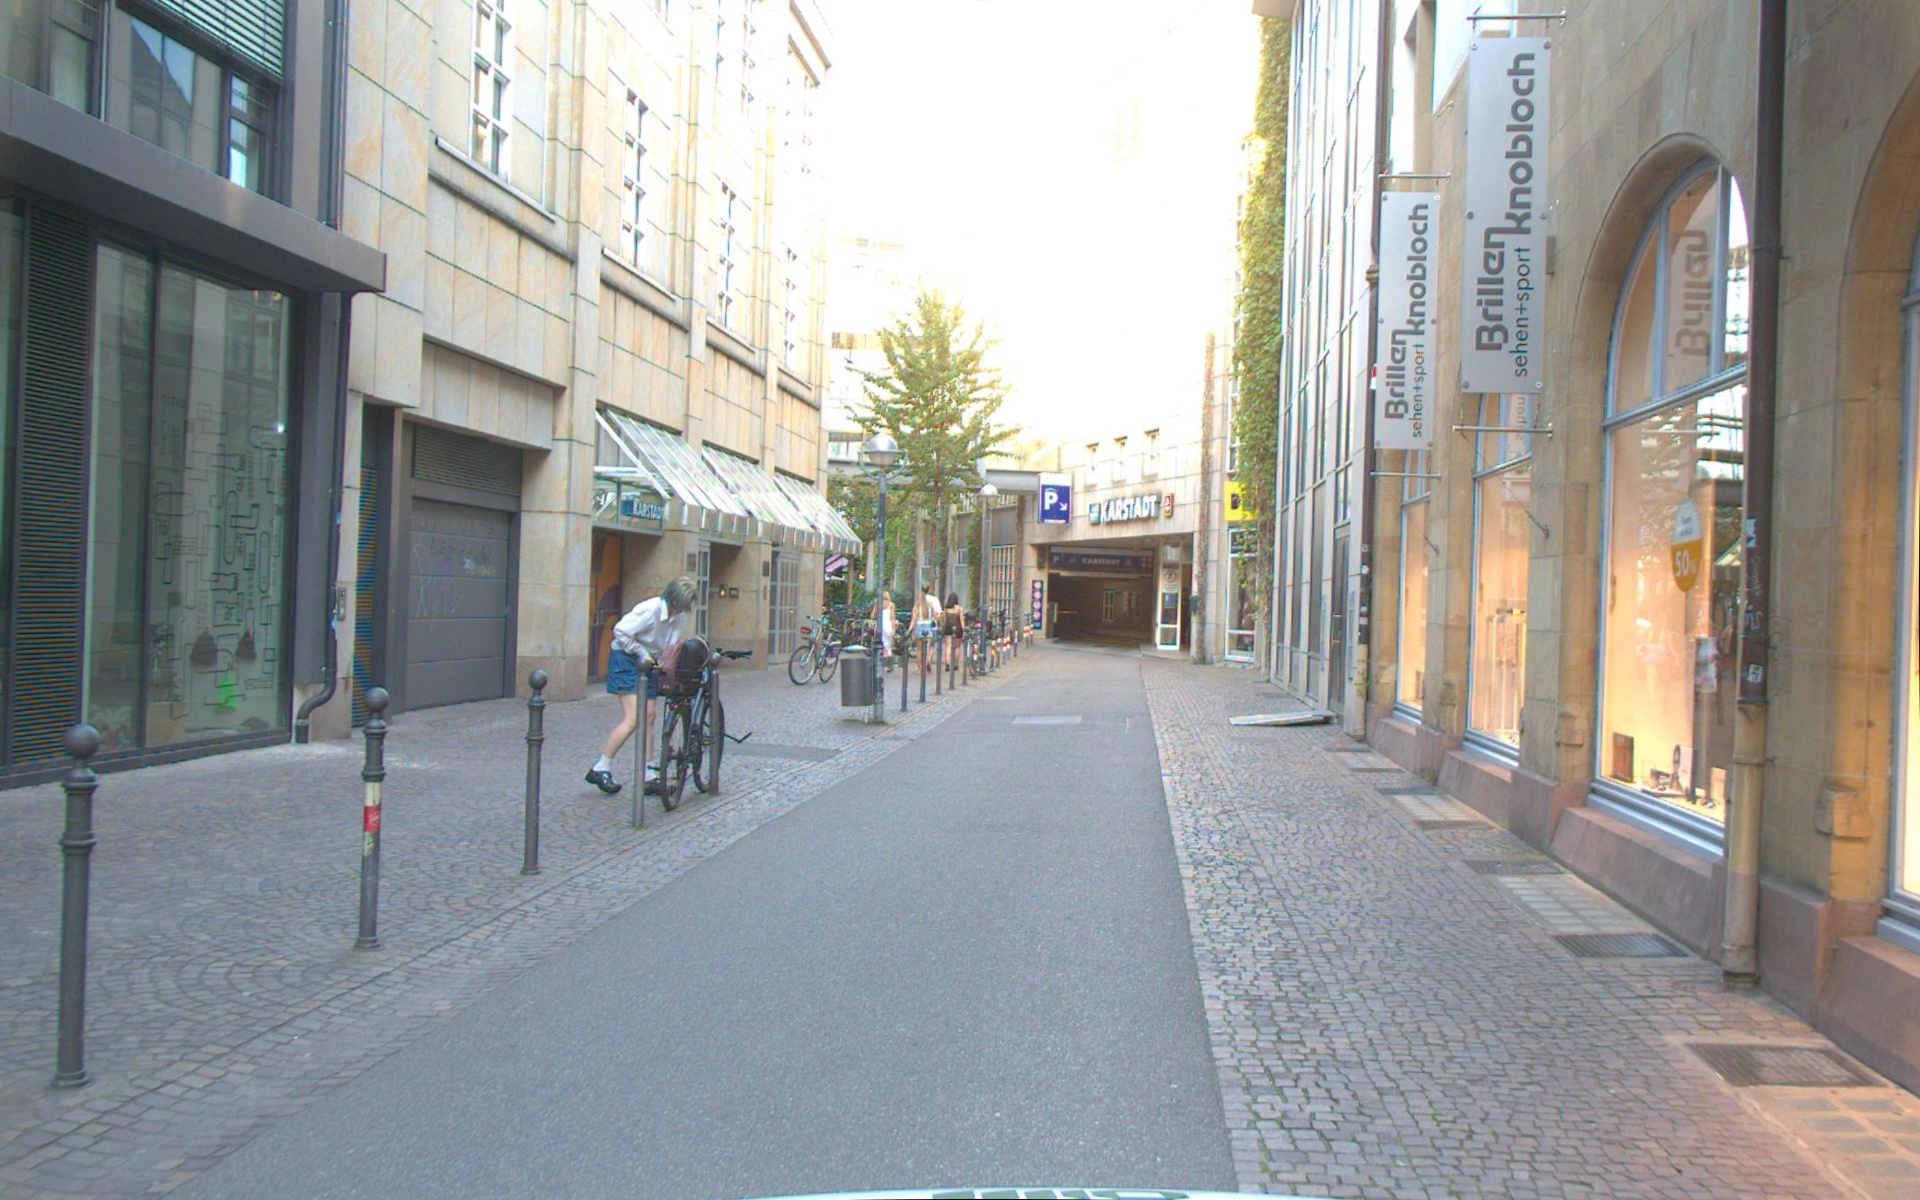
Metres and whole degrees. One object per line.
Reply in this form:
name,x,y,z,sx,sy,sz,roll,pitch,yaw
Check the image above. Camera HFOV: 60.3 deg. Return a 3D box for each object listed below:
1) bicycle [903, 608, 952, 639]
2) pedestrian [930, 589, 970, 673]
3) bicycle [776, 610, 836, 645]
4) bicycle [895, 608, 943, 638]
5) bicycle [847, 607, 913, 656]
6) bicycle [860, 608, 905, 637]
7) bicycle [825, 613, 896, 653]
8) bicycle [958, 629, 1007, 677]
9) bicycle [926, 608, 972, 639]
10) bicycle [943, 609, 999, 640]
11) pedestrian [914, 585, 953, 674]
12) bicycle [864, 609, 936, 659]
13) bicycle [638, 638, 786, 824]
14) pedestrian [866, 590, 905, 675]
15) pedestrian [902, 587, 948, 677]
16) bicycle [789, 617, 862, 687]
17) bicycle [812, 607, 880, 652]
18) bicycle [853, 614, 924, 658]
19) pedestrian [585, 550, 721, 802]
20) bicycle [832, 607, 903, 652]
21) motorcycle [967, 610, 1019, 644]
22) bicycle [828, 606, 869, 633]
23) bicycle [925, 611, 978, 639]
bicycle,-1.228,0.894,61.979,1.744,1.134,0.540,1,0,-15
pedestrian,-0.207,0.671,36.384,0.768,1.826,0.973,1,0,5
bicycle,-4.825,0.866,51.924,1.796,1.061,0.531,1,0,-17
bicycle,-1.571,0.877,63.182,1.744,1.134,0.540,1,0,-15
bicycle,-2.086,0.830,43.037,1.627,1.252,0.531,1,0,-17
bicycle,-3.114,0.914,66.664,1.744,1.134,0.540,1,0,-15
bicycle,-2.741,0.909,45.484,1.864,1.070,0.531,1,0,-17
bicycle,0.482,1.113,35.031,0.483,0.955,1.659,2,0,20
bicycle,-0.380,0.814,57.257,1.514,1.067,0.573,1,0,-15
bicycle,0.379,0.815,55.365,1.817,0.999,0.462,1,0,-15
pedestrian,-0.556,0.620,34.940,0.726,1.854,0.878,1,0,4
bicycle,-1.505,0.862,41.698,1.738,1.252,0.531,1,0,-17
bicycle,-1.762,0.895,12.029,0.521,1.174,1.916,3,0,7
pedestrian,-1.514,0.648,33.556,0.660,1.693,0.861,1,0,3
pedestrian,-0.703,0.640,33.338,0.789,1.760,0.949,1,0,4
bicycle,-2.302,0.871,28.447,0.511,1.158,1.764,1,0,21
bicycle,-3.184,0.816,46.203,1.804,1.246,0.531,1,0,-17
bicycle,-1.893,0.946,43.914,1.807,1.142,0.531,1,0,-17
pedestrian,-2.228,0.539,12.060,0.751,1.748,0.592,3,0,5
bicycle,-2.516,0.805,44.931,1.842,1.198,0.531,1,0,-17
motorcycle,1.076,0.884,53.678,1.635,1.069,0.462,1,0,-15
bicycle,-4.894,0.851,72.633,1.742,1.134,0.541,1,0,-13
bicycle,-0.296,0.858,56.184,1.744,0.920,0.462,1,0,-15
